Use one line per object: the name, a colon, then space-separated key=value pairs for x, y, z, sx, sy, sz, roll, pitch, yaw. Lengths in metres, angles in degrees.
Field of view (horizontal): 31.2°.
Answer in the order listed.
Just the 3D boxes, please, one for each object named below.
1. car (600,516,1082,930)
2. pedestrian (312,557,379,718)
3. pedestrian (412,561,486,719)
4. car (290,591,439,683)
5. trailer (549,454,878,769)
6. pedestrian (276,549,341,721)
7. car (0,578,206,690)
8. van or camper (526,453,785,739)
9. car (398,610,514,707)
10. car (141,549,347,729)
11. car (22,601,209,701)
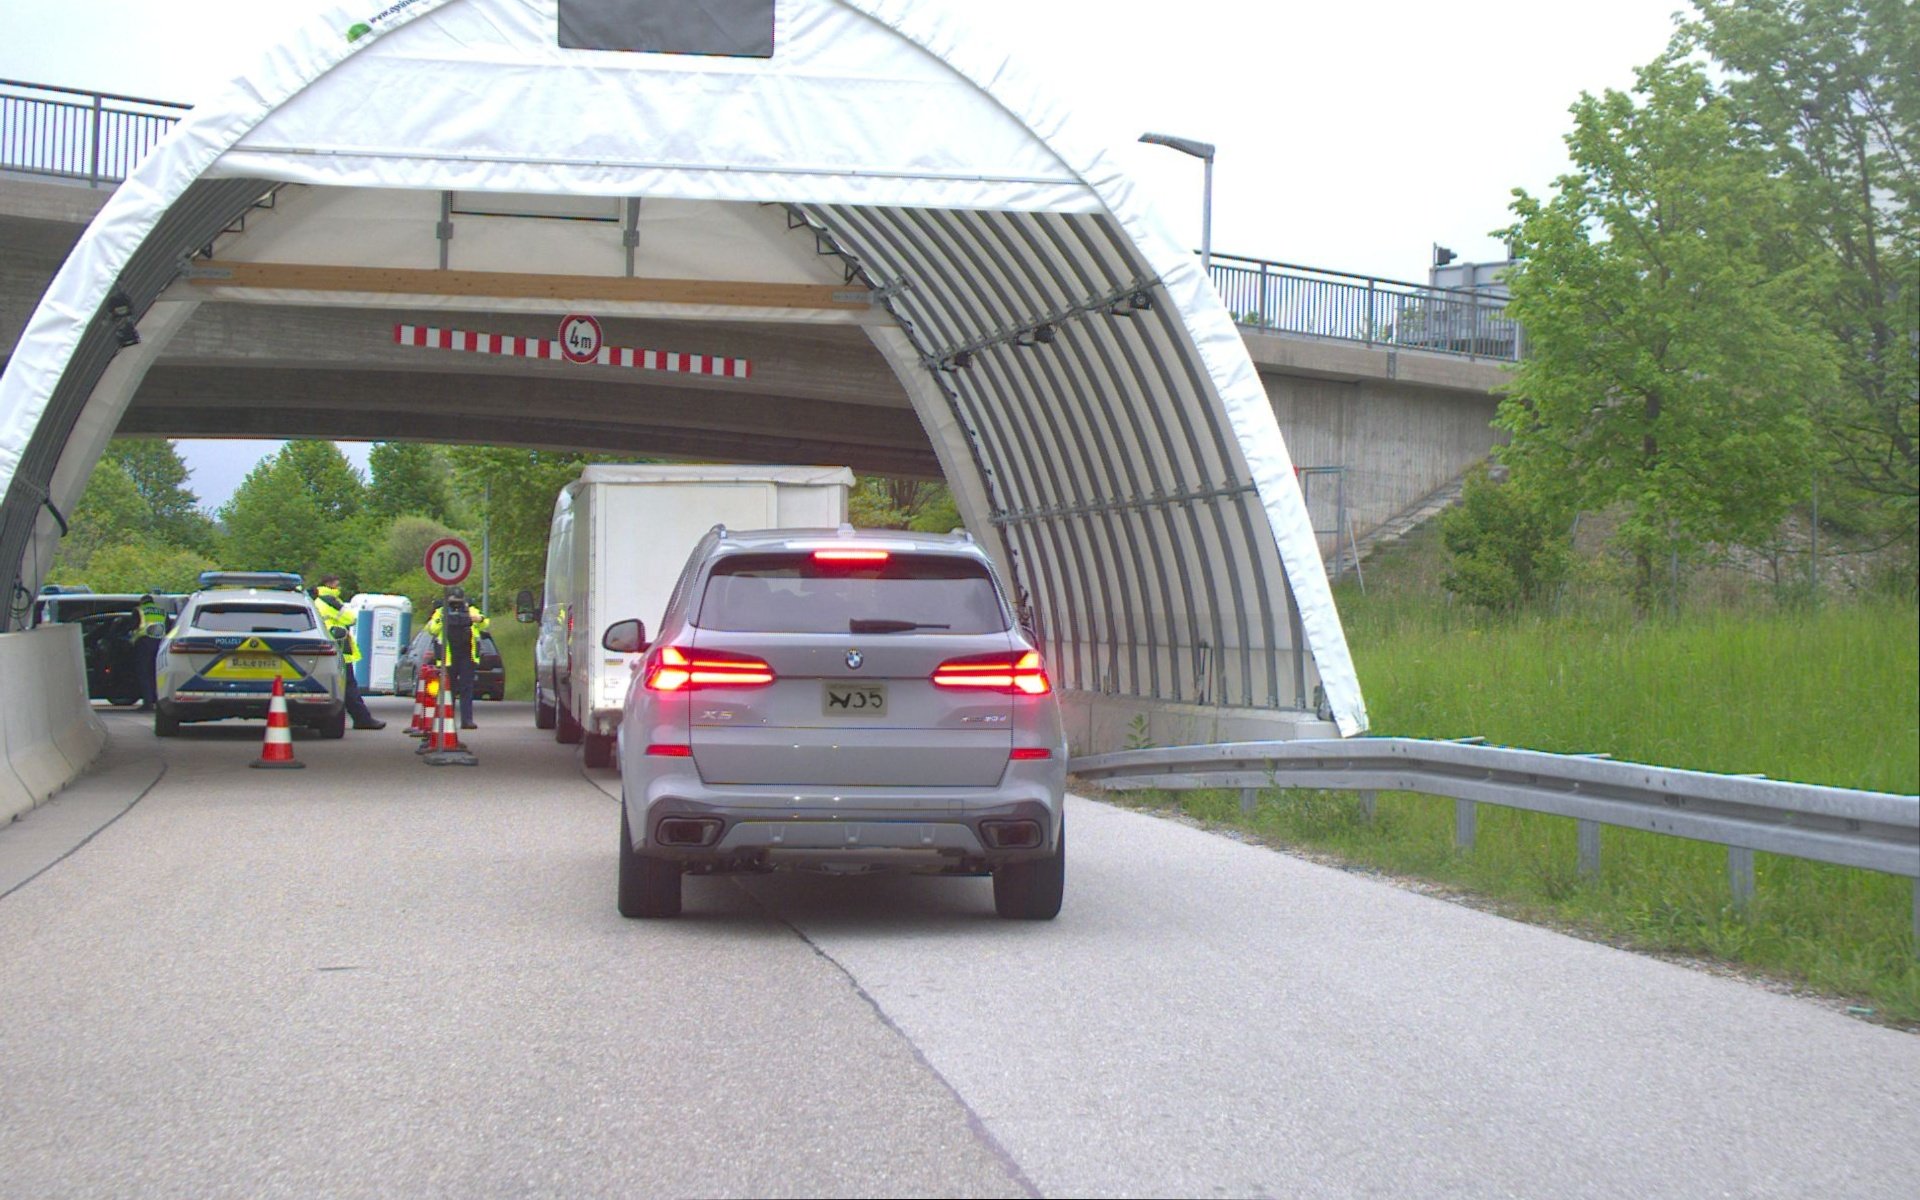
car: x=-0.670 y=0.534 z=16.304 sx=1.993 sy=1.714 sz=4.000 roll=0 pitch=-1 yaw=-5
pedestrian: x=-6.830 y=0.414 z=38.204 sx=0.720 sy=1.769 sz=0.690 roll=0 pitch=0 yaw=-11
pedestrian: x=-5.789 y=0.448 z=38.944 sx=0.648 sy=1.769 sz=0.606 roll=0 pitch=0 yaw=-30
car: x=-13.374 y=0.815 z=77.085 sx=1.993 sy=2.007 sz=4.000 roll=0 pitch=0 yaw=-31
trailer: x=-2.299 y=0.152 z=29.942 sx=2.278 sy=2.422 sz=6.818 roll=0 pitch=-1 yaw=-9
pedestrian: x=-7.429 y=0.399 z=39.222 sx=0.720 sy=1.939 sz=0.690 roll=0 pitch=0 yaw=-11
car: x=-14.973 y=0.573 z=58.206 sx=3.987 sy=1.848 sz=1.709 roll=0 pitch=0 yaw=4
van or camper: x=-3.301 y=0.014 z=36.162 sx=2.156 sy=2.754 sz=5.872 roll=0 pitch=-1 yaw=-10
car: x=-9.945 y=1.123 z=67.641 sx=1.703 sy=1.848 sz=4.001 roll=0 pitch=0 yaw=-17
car: x=-7.445 y=0.387 z=35.786 sx=1.993 sy=1.766 sz=3.766 roll=0 pitch=0 yaw=-12
car: x=-12.542 y=0.739 z=50.965 sx=1.515 sy=1.437 sz=3.315 roll=0 pitch=0 yaw=-37
